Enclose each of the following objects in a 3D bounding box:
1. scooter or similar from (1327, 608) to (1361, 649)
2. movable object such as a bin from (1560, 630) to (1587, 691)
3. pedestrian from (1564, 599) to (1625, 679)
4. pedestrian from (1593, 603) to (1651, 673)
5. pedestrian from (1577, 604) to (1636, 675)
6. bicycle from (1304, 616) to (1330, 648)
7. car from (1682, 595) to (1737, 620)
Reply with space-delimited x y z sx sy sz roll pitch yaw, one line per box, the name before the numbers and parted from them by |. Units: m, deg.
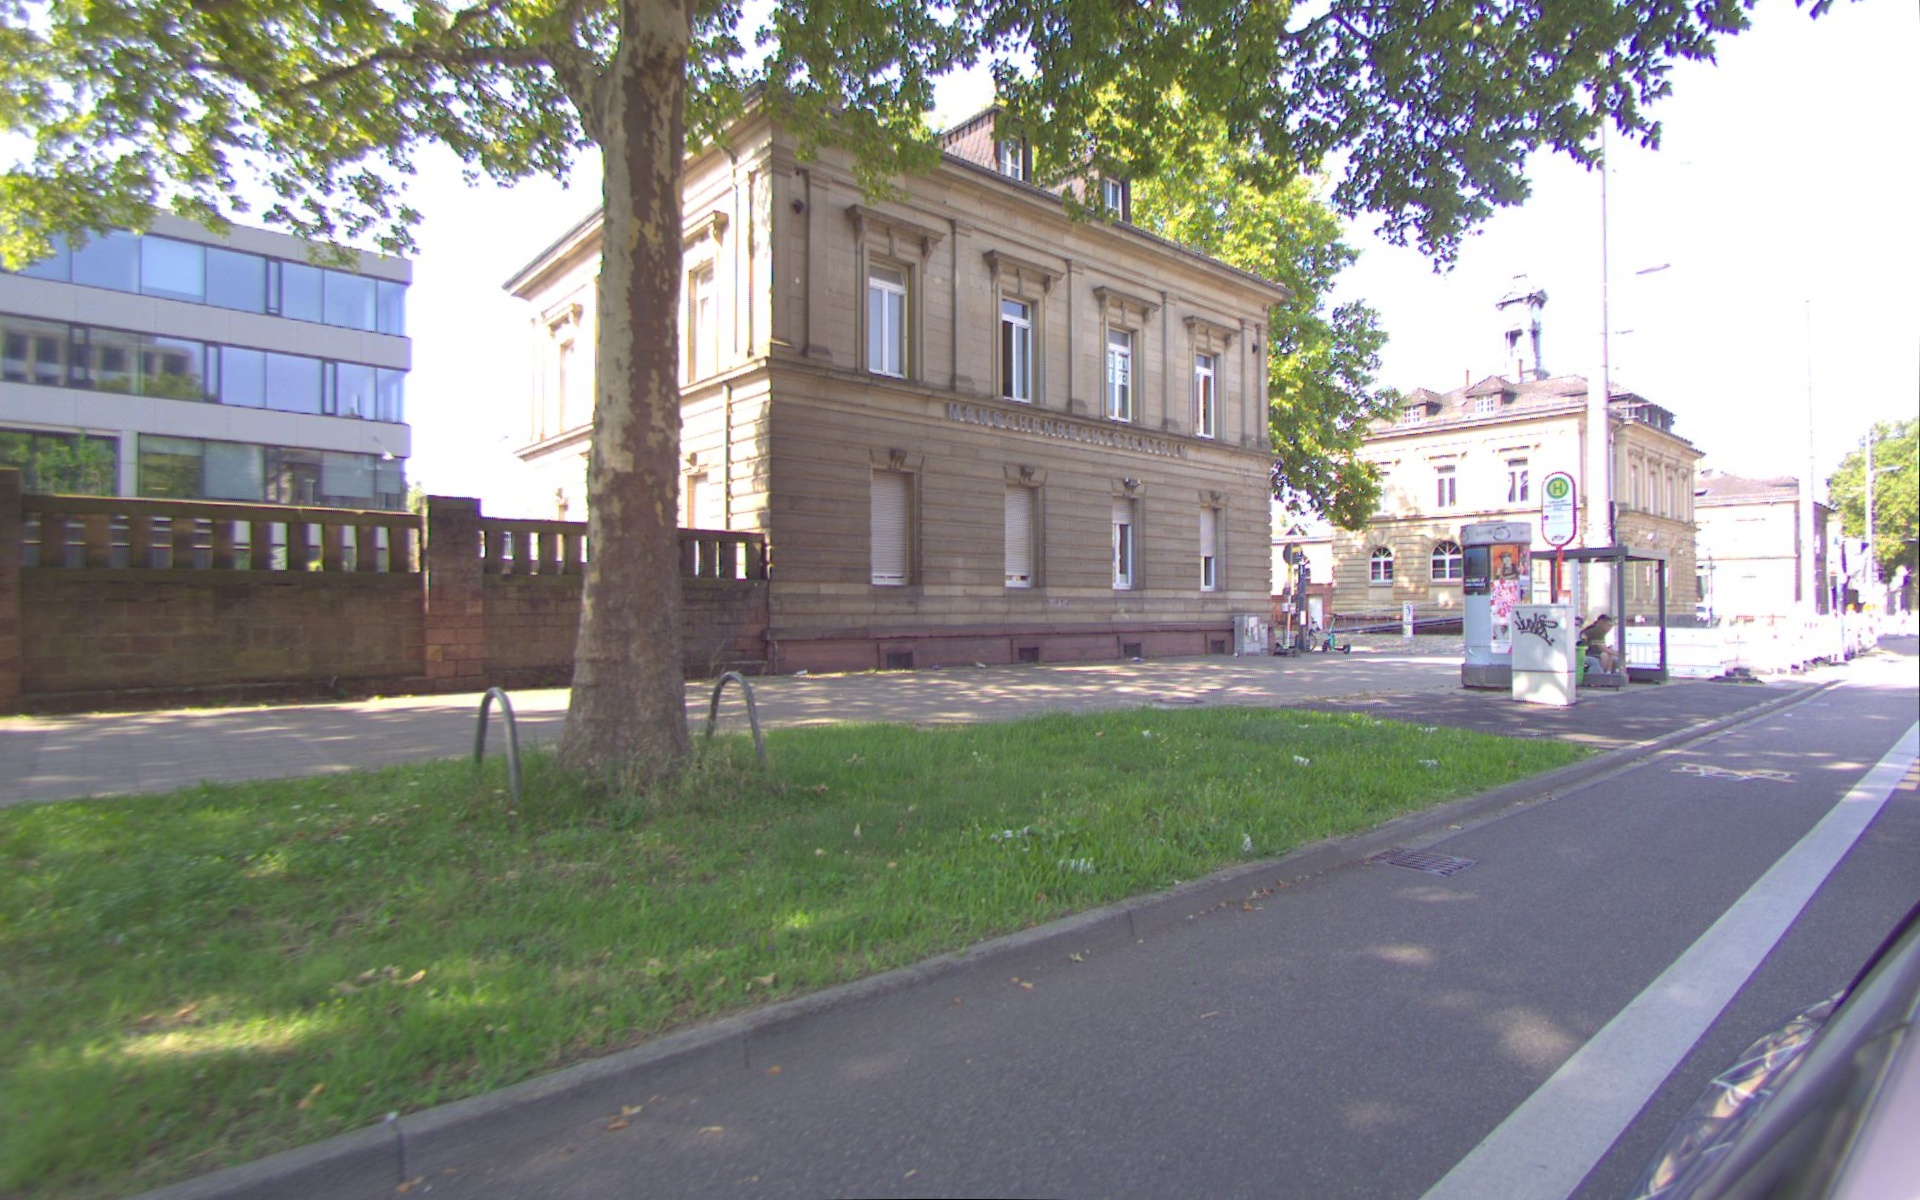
scooter or similar | 11.938 0.875 31.468 1.150 1.244 0.427 1 -1 -35
movable object such as a bin | 9.702 0.947 15.997 0.379 0.927 0.271 1 -1 -44
pedestrian | 11.401 0.687 18.179 0.601 1.383 0.751 -1 -1 -42
pedestrian | 12.484 0.705 19.087 0.601 1.277 0.742 -1 -1 -42
pedestrian | 11.895 0.719 18.612 0.601 1.277 0.742 -1 -1 -42
bicycle | 11.672 1.051 33.044 0.488 1.013 1.798 0 -3 29
car | 54.691 0.527 73.830 4.142 1.805 1.911 0 0 -33
